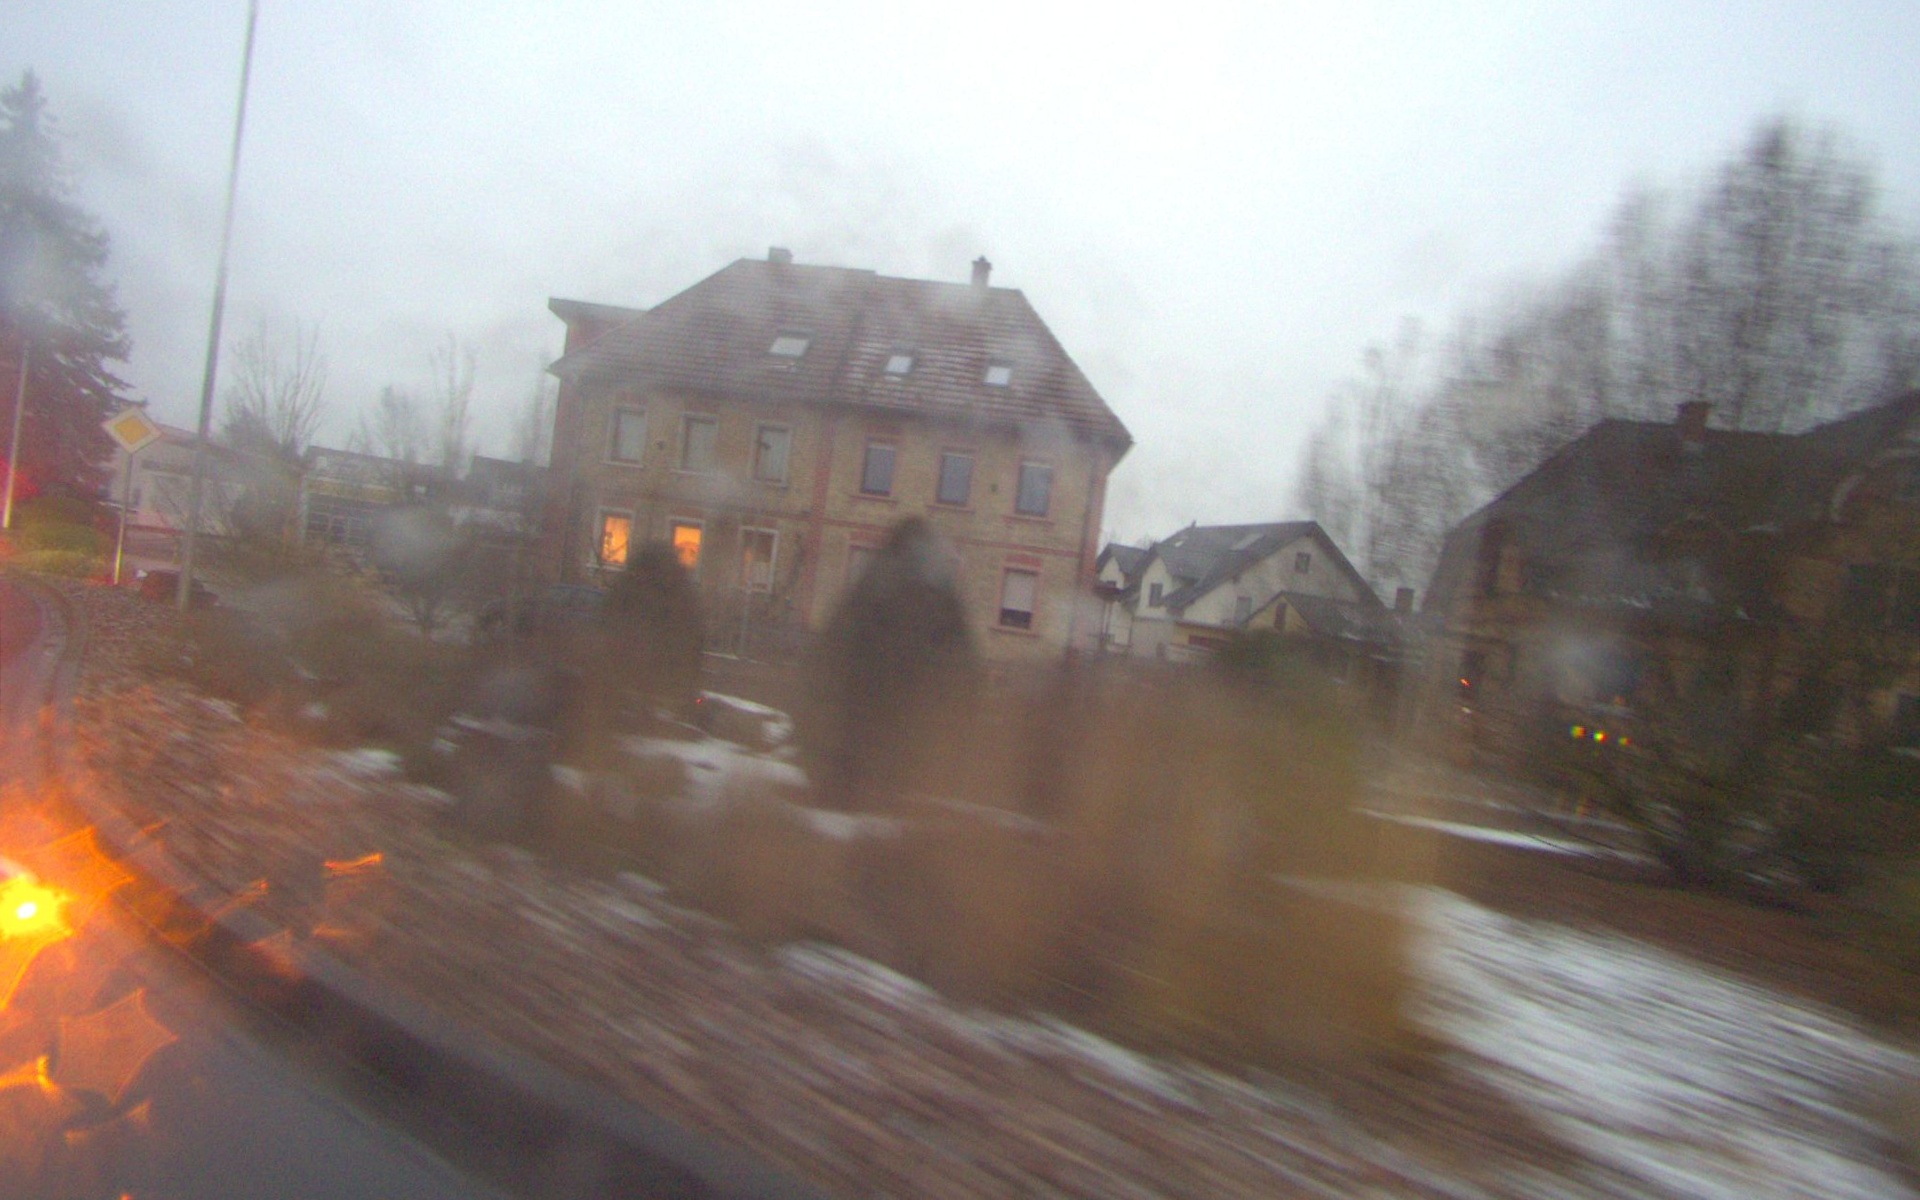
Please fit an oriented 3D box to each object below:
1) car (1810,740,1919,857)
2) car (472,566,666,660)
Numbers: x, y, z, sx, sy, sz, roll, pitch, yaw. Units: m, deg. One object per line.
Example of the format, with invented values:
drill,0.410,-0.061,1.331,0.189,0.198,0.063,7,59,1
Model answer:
car,20.612,4.216,19.824,5.230,1.889,2.368,7,1,11
car,-8.224,0.276,21.255,3.512,1.400,1.288,9,0,10
